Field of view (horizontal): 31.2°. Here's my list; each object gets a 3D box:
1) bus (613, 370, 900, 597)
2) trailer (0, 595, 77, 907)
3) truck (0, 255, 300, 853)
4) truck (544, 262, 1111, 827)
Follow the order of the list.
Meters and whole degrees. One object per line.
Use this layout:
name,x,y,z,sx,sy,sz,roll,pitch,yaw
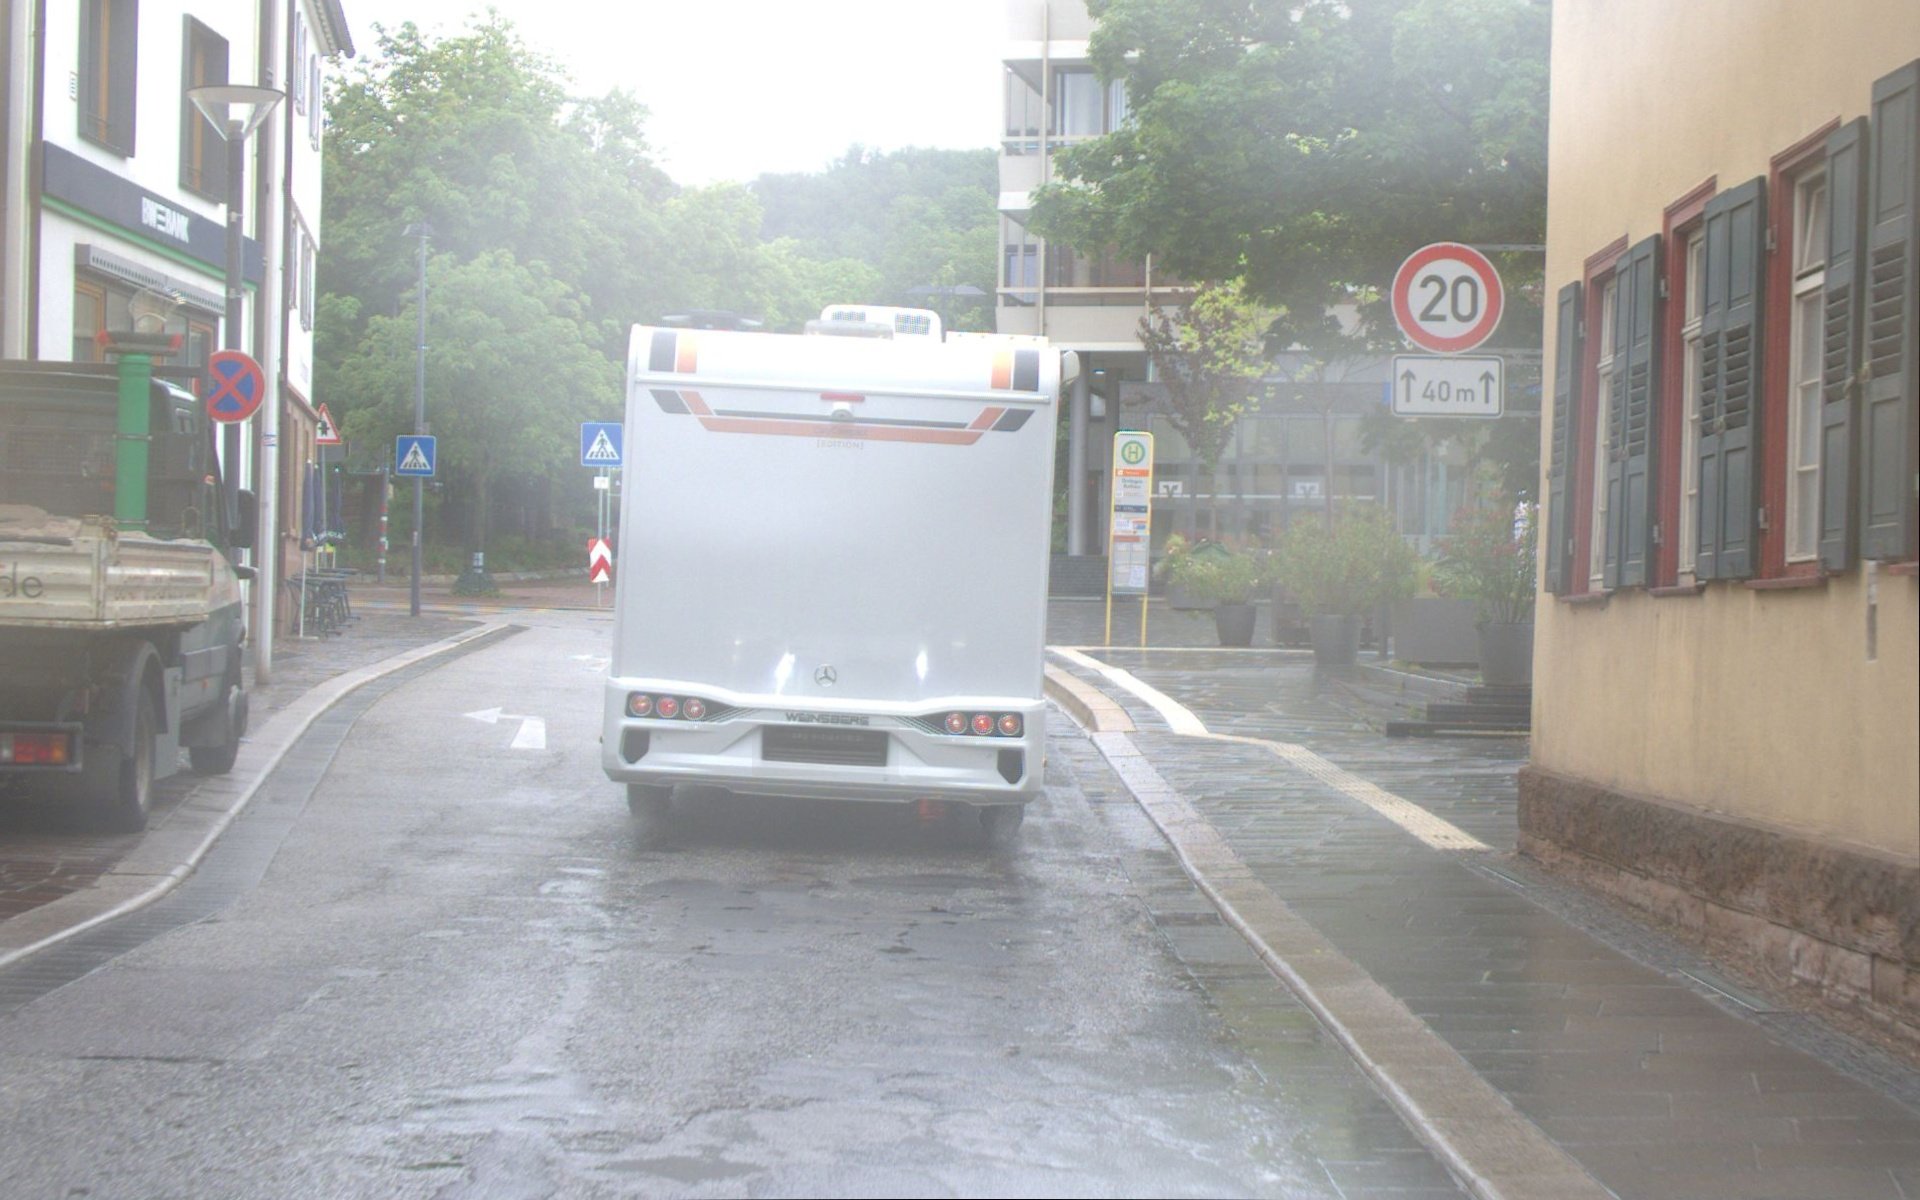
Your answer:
bus,-3.321,-1.646,52.779,3.022,3.135,10.151,0,0,-11
trailer,-4.642,0.604,13.367,1.852,1.120,3.020,1,3,-5
truck,-5.103,-0.374,18.093,2.399,2.585,6.485,1,3,-4
truck,-0.808,-0.295,20.095,2.805,2.787,6.107,0,0,-3
